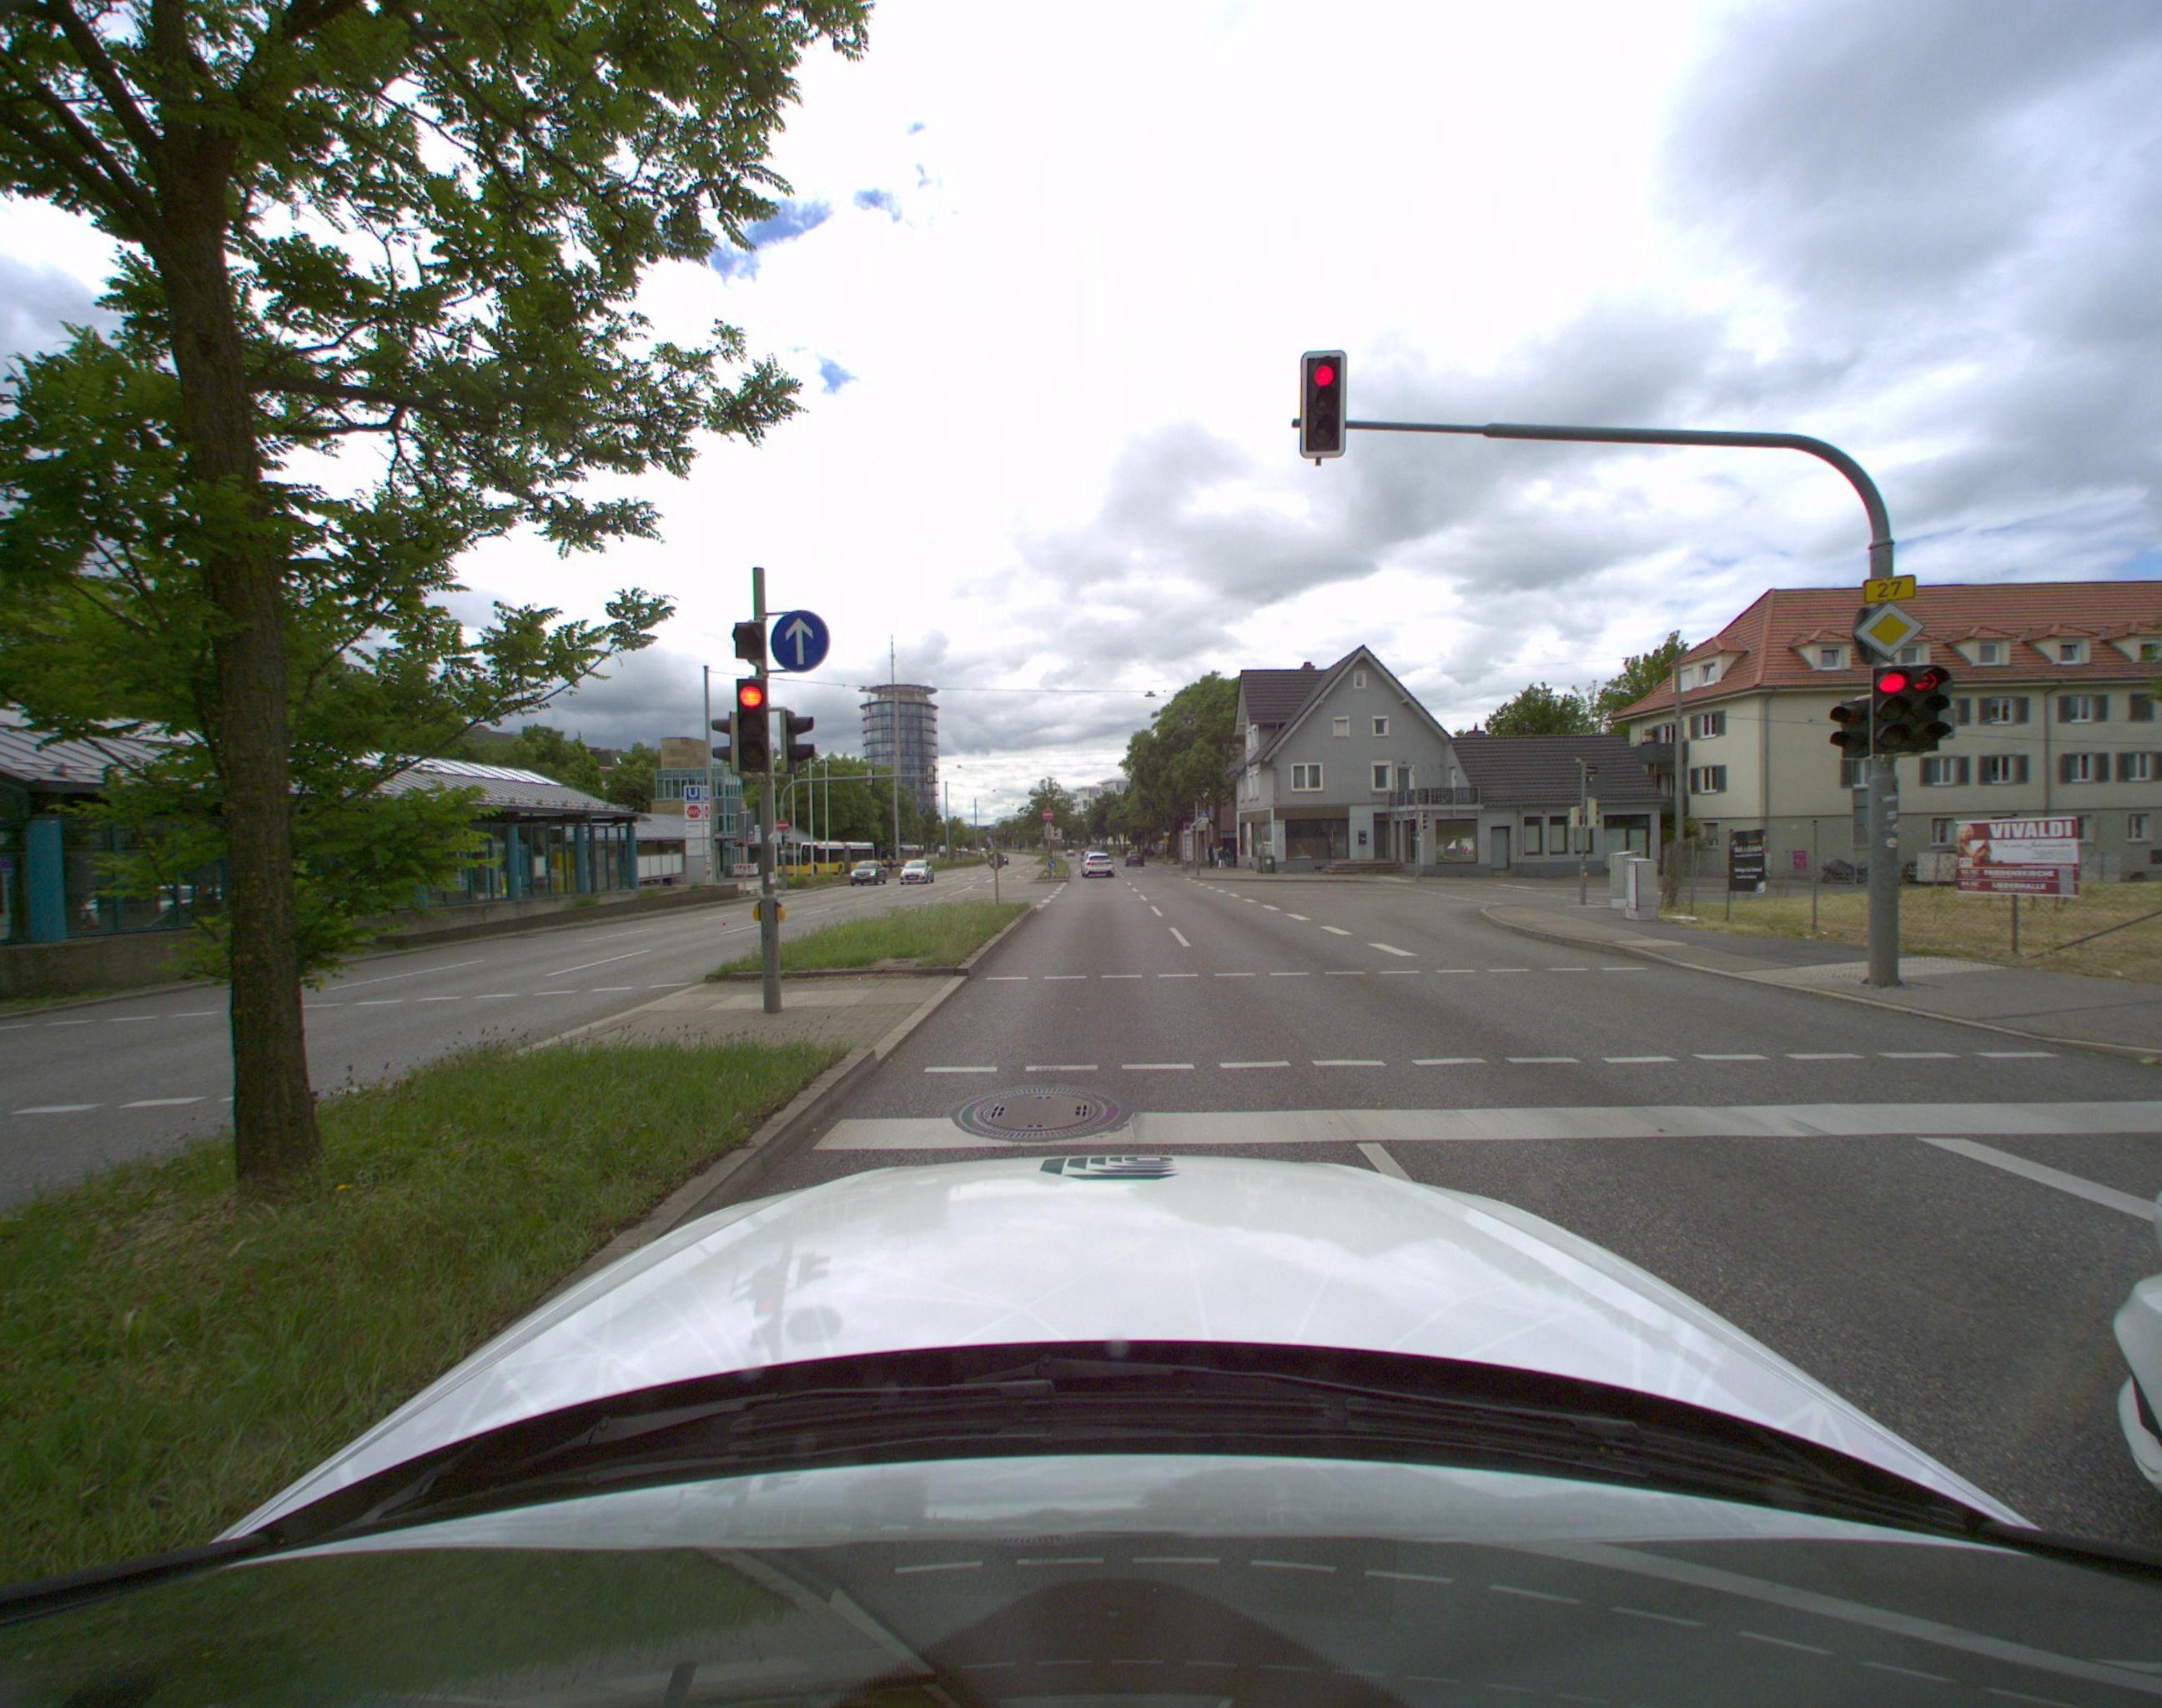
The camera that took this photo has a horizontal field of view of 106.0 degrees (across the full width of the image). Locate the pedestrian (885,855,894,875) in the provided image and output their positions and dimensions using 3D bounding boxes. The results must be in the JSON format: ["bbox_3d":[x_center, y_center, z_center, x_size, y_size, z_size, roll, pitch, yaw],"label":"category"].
[{"bbox_3d":[-18.519,1.074,78.774,0.659,1.897,0.685,-2,0,-2],"label":"pedestrian"}]

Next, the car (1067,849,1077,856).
[{"bbox_3d":[-1.908,-0.353,173.478,1.963,1.420,4.017,-2,0,-3],"label":"car"}]

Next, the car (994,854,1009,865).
[{"bbox_3d":[-11.375,0.826,117.087,1.696,1.492,3.562,-2,0,1],"label":"car"}]

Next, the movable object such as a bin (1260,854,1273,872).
[{"bbox_3d":[10.030,0.477,43.963,0.527,0.979,0.737,-2,0,2],"label":"movable object such as a bin"}]

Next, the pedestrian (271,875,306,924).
[{"bbox_3d":[-27.463,1.556,28.233,0.520,1.655,0.709,-1,0,-5],"label":"pedestrian"}]

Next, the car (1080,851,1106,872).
[{"bbox_3d":[0.969,0.559,62.417,1.815,1.540,4.117,-2,0,2],"label":"car"}]

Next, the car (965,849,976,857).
[{"bbox_3d":[-27.256,-0.169,201.224,1.958,2.014,4.001,0,-1,2],"label":"car"}]

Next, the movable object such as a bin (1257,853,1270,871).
[{"bbox_3d":[10.036,0.449,44.753,0.527,0.979,0.737,-2,0,2],"label":"movable object such as a bin"}]

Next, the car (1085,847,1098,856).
[{"bbox_3d":[2.099,-0.471,165.290,2.246,1.757,4.928,-2,0,-3],"label":"car"}]

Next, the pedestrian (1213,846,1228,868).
[{"bbox_3d":[9.736,0.232,56.794,0.698,1.507,0.875,-2,0,29],"label":"pedestrian"}]

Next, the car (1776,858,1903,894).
[{"bbox_3d":[34.040,0.984,36.621,3.972,1.537,1.871,0,0,2],"label":"car"}]

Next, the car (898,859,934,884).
[{"bbox_3d":[-10.341,1.057,51.328,1.680,1.462,3.552,-2,0,-3],"label":"car"}]

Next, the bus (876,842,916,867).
[{"bbox_3d":[-26.094,0.100,115.324,3.135,3.225,10.282,-2,0,0],"label":"bus"}]

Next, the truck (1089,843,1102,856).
[{"bbox_3d":[2.756,-0.815,156.677,2.246,2.416,4.928,-1,0,-3],"label":"truck"}]

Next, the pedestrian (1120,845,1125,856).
[{"bbox_3d":[8.763,-0.801,171.093,0.930,2.308,1.008,0,-1,-8],"label":"pedestrian"}]

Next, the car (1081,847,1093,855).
[{"bbox_3d":[1.291,-0.555,174.112,2.246,1.647,4.927,-2,0,-3],"label":"car"}]

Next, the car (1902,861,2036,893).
[{"bbox_3d":[39.810,1.021,36.582,3.972,1.377,1.871,0,0,2],"label":"car"}]

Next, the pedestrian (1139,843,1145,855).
[{"bbox_3d":[10.693,-0.849,143.197,0.967,2.014,0.981,0,-1,1],"label":"pedestrian"}]

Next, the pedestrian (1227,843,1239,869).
[{"bbox_3d":[10.567,0.119,56.608,0.700,1.760,1.056,-2,0,13],"label":"pedestrian"}]

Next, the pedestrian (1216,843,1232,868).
[{"bbox_3d":[10.431,0.105,59.273,0.871,1.780,0.702,-2,0,-25],"label":"pedestrian"}]

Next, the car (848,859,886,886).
[{"bbox_3d":[-13.494,1.148,51.539,1.681,1.578,3.344,-2,0,-4],"label":"car"}]

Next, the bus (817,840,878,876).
[{"bbox_3d":[-23.353,0.372,81.874,2.975,3.270,7.889,-2,0,6],"label":"bus"}]

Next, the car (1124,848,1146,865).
[{"bbox_3d":[5.103,0.270,77.381,1.883,1.494,4.098,-3,-1,0],"label":"car"}]

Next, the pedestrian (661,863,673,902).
[{"bbox_3d":[-17.254,1.174,33.954,0.420,1.591,0.353,-2,0,-28],"label":"pedestrian"}]

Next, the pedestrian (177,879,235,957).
[{"bbox_3d":[-20.632,1.481,19.217,0.528,1.762,0.754,-2,0,-8],"label":"pedestrian"}]

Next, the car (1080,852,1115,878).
[{"bbox_3d":[1.071,0.631,50.487,1.986,1.477,4.258,-2,0,2],"label":"car"}]

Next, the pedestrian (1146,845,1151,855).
[{"bbox_3d":[10.829,-0.608,131.180,0.649,1.570,0.669,-2,0,-6],"label":"pedestrian"}]

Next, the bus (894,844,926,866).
[{"bbox_3d":[-26.037,0.126,124.333,3.134,3.225,7.765,-2,0,0],"label":"bus"}]

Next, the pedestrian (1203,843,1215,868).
[{"bbox_3d":[9.049,0.101,57.404,0.700,1.780,0.873,-2,0,13],"label":"pedestrian"}]

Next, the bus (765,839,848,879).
[{"bbox_3d":[-24.324,0.405,72.874,2.975,3.250,10.186,-2,0,6],"label":"bus"}]

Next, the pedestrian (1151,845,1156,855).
[{"bbox_3d":[11.648,-0.630,131.190,0.649,1.570,0.669,-2,0,-6],"label":"pedestrian"}]
